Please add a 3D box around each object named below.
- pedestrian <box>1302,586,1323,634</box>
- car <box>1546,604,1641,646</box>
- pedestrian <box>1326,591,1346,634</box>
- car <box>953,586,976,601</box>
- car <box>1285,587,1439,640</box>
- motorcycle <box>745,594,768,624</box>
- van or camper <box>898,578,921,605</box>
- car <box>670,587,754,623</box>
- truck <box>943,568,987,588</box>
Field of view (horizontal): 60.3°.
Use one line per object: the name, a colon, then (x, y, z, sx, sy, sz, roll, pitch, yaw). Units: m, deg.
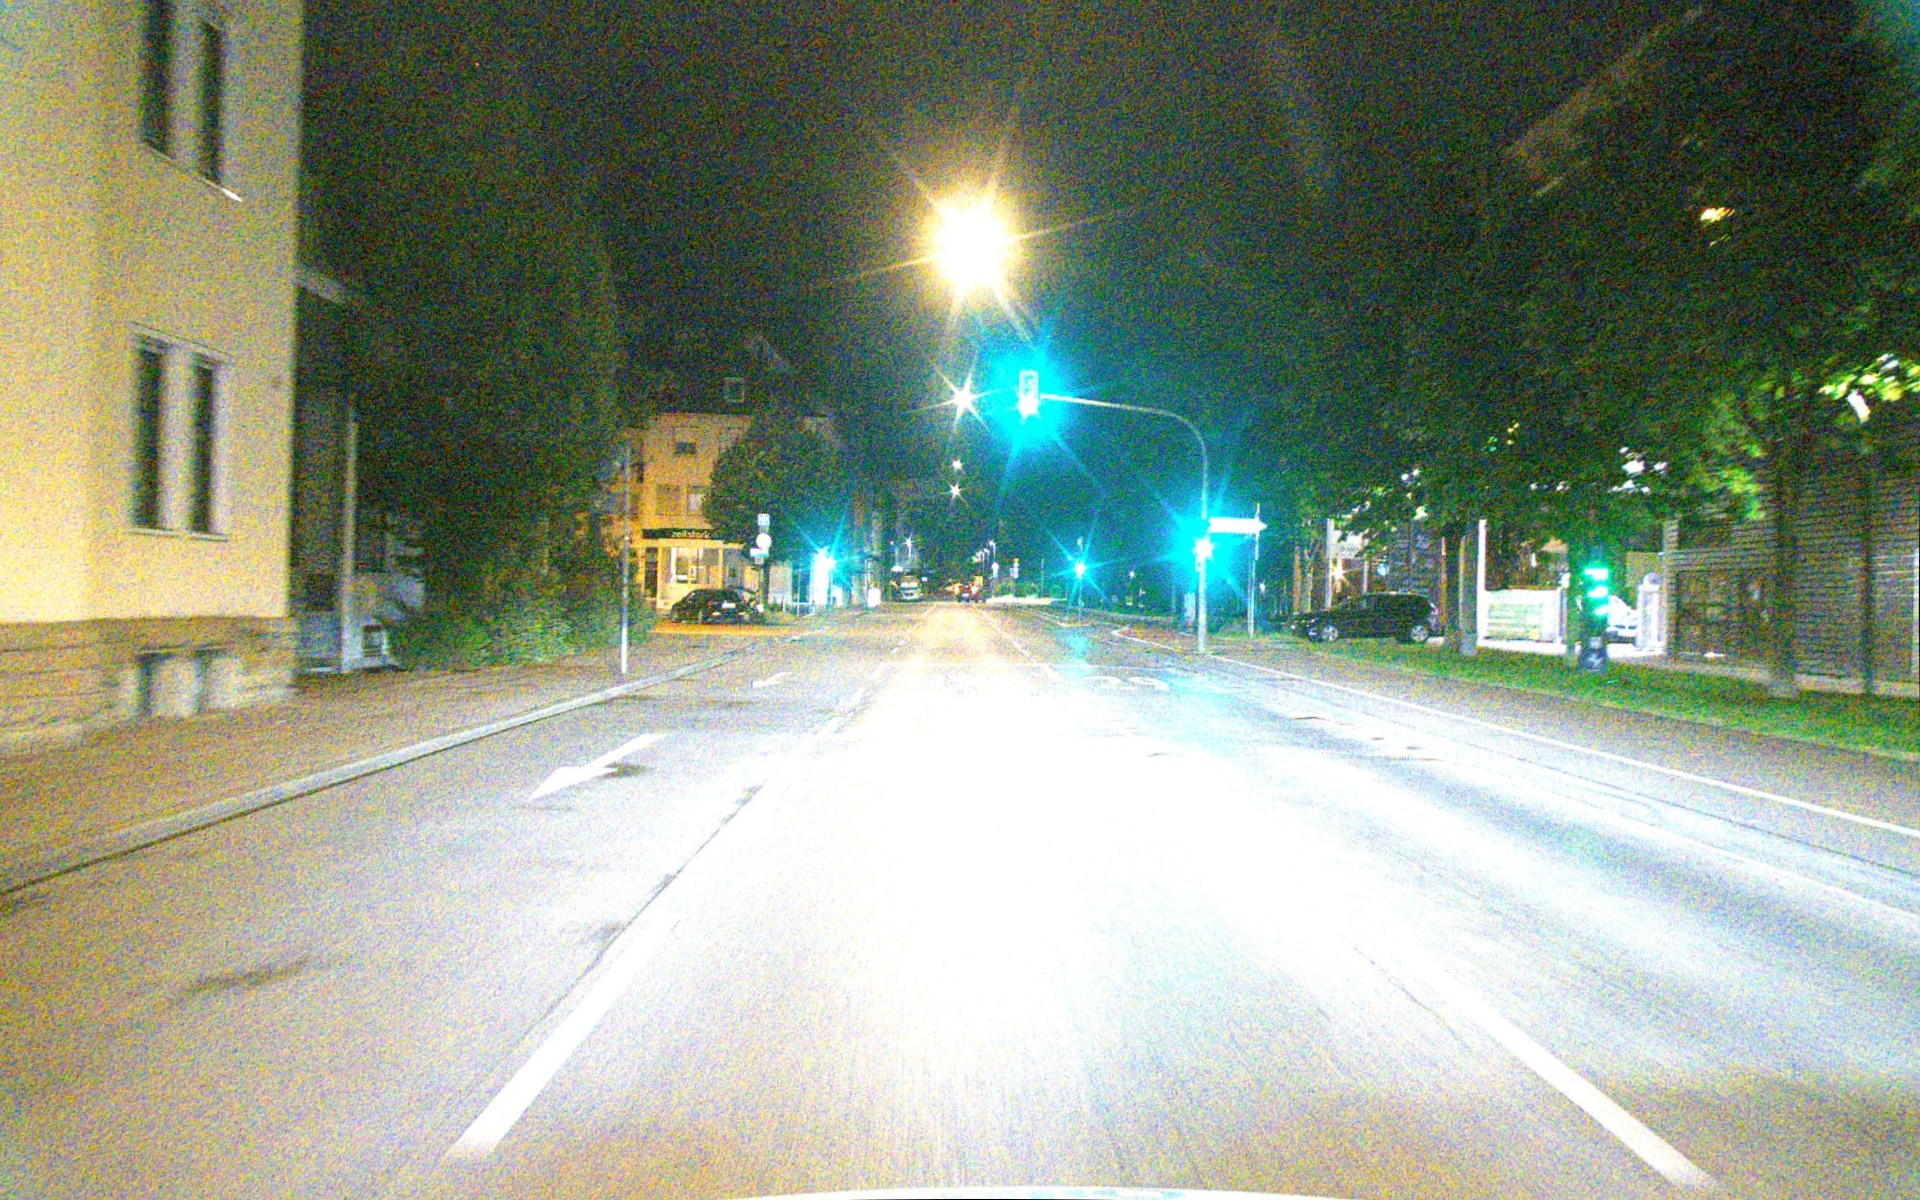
pedestrian: (13.641, 0.394, 64.040, 0.609, 1.843, 0.759, 1, 0, 0)
car: (18.965, 0.726, 49.668, 1.428, 1.189, 3.539, 1, 0, -1)
pedestrian: (14.530, 0.482, 63.892, 0.608, 1.667, 0.679, 1, 0, 0)
car: (0.438, -0.632, 153.473, 1.628, 1.366, 3.628, 0, 0, 8)
car: (11.569, 0.396, 47.742, 3.998, 1.480, 1.786, 0, 0, -1)
motorcycle: (-8.169, 0.354, 66.222, 0.562, 1.200, 2.022, 0, 0, -17)
van or camper: (-4.991, -0.821, 164.474, 2.114, 2.580, 6.225, -2, 0, -1)
car: (-10.433, 0.202, 69.316, 1.868, 1.449, 4.679, 0, 0, -31)
truck: (0.718, -3.419, 252.595, 6.641, 2.894, 1.999, 1, 0, -4)
